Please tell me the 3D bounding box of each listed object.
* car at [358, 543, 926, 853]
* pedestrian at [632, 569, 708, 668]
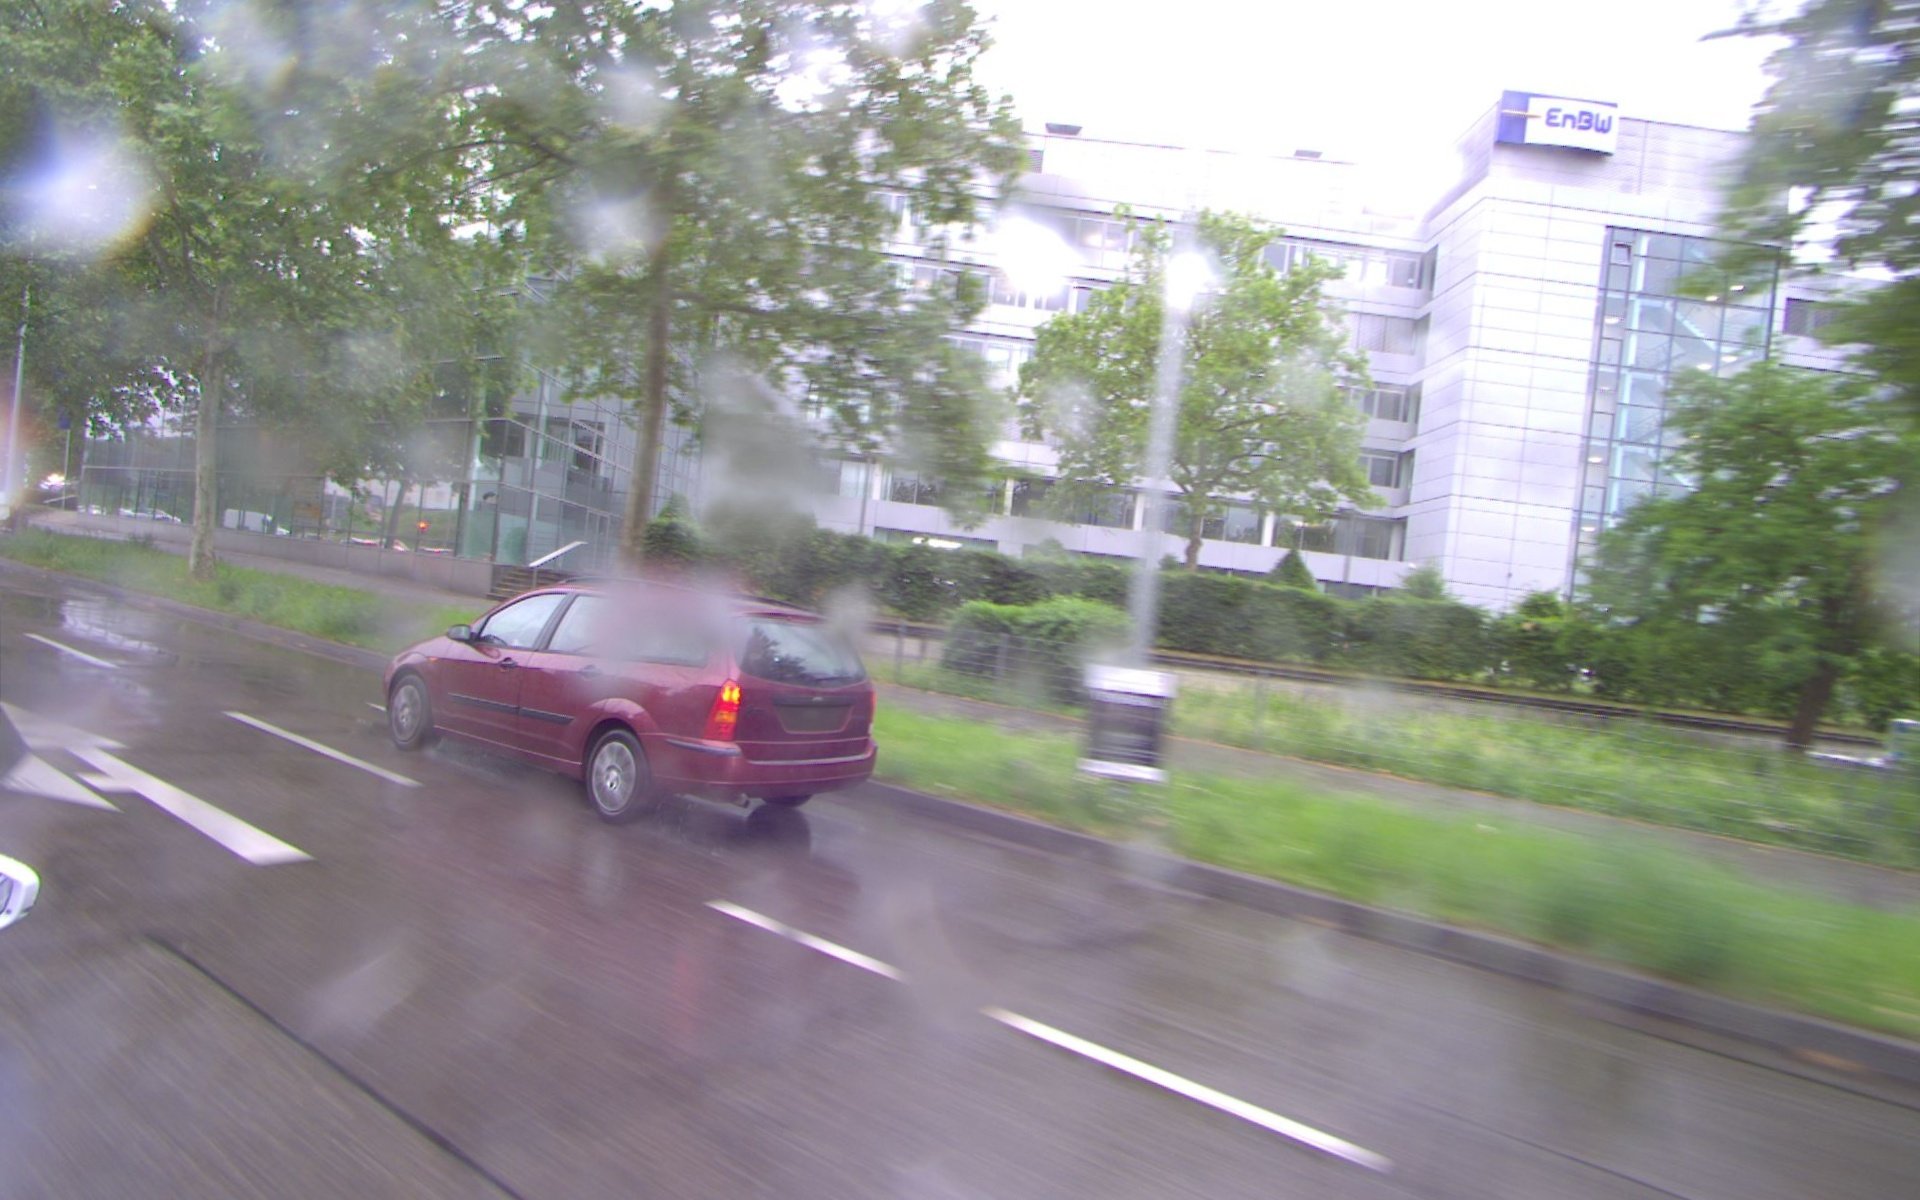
[{"bbox_3d":[-2.504,0.582,7.604,4.046,1.554,1.842,6,-2,34],"label":"car"},{"bbox_3d":[-5.603,0.357,19.439,1.057,1.783,0.665,7,0,29],"label":"pedestrian"}]
